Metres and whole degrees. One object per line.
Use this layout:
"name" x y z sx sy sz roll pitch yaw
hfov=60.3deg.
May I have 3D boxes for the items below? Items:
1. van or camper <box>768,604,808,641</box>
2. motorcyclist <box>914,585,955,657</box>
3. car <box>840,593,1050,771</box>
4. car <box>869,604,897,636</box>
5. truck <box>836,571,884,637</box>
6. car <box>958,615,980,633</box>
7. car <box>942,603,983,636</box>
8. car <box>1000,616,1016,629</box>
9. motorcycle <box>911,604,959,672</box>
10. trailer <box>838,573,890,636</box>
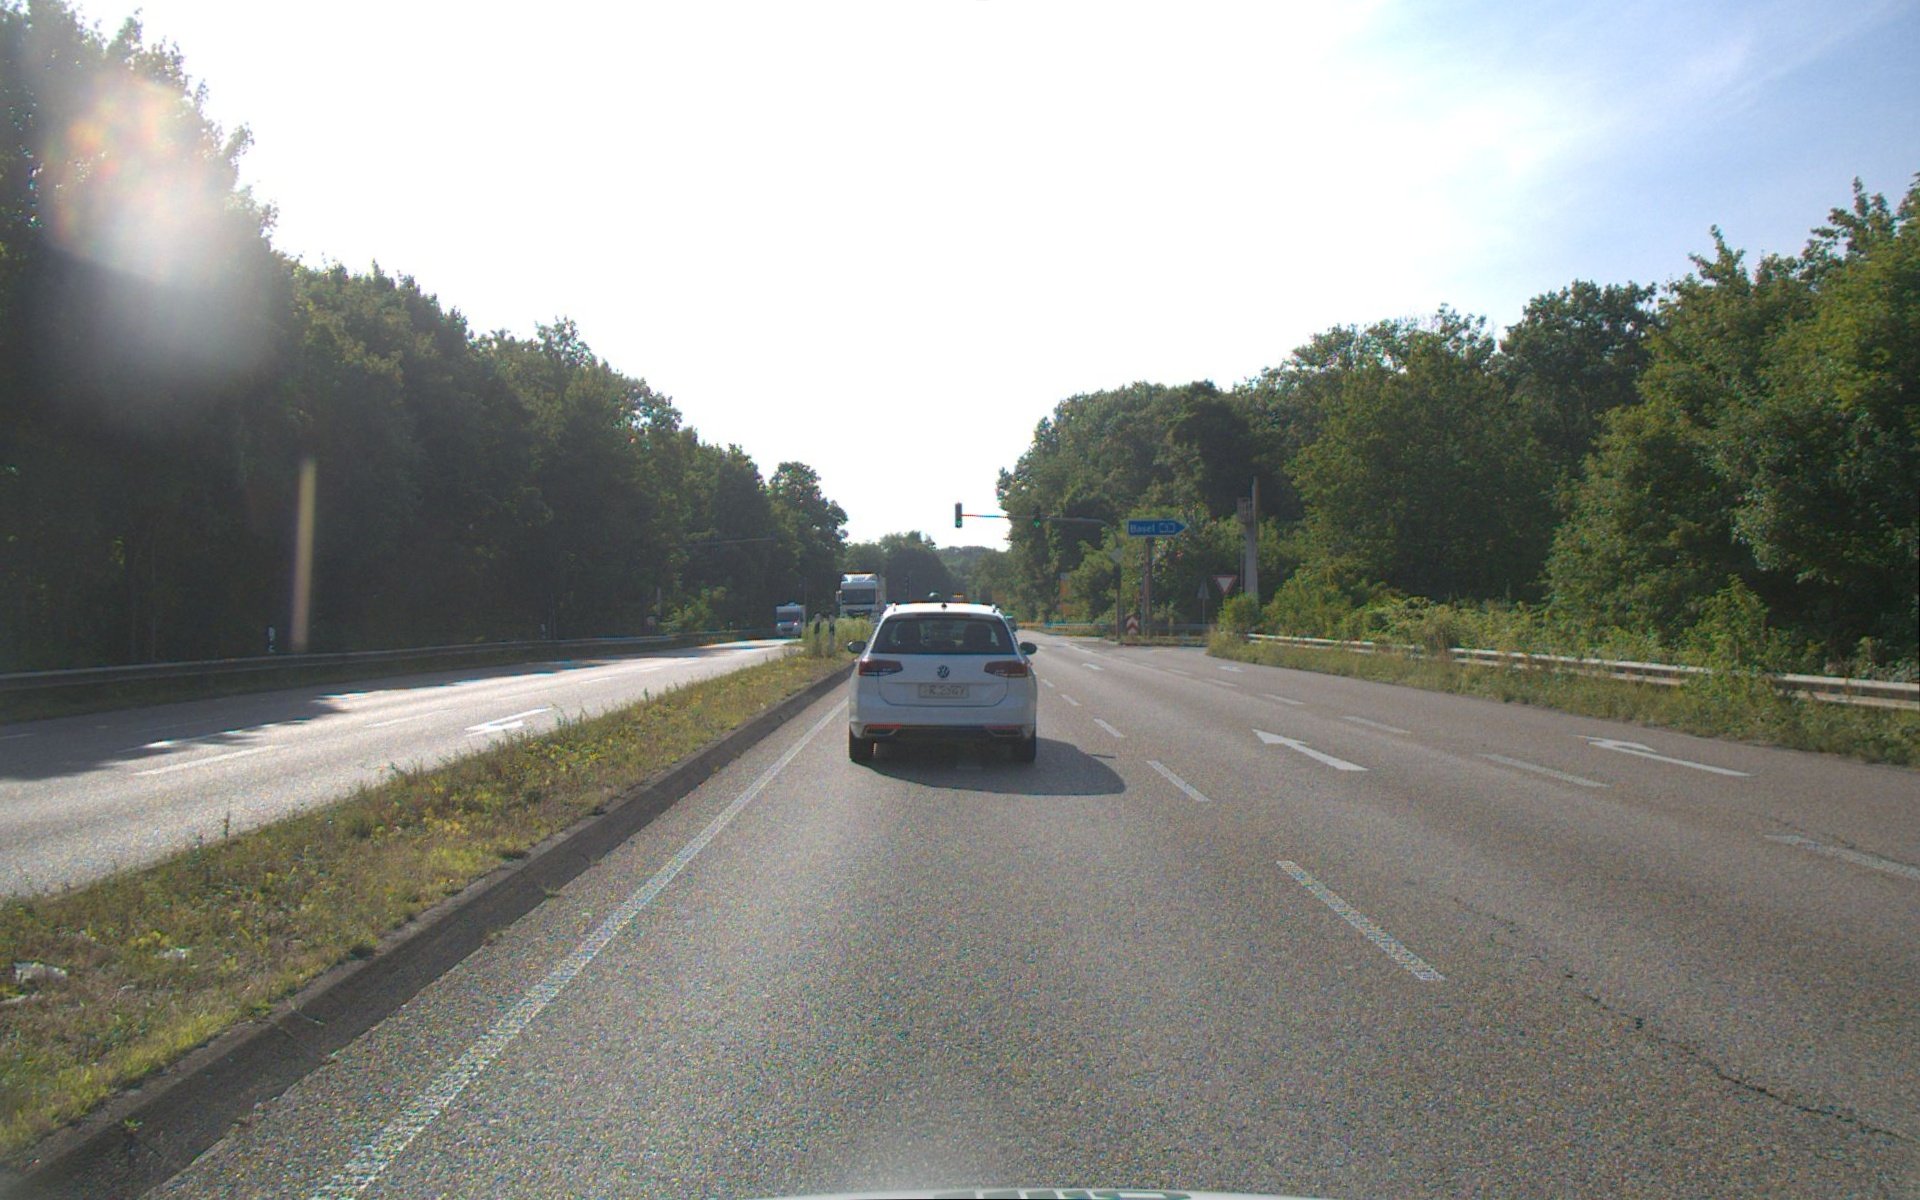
"van or camper" -13.808 1.782 133.230 2.364 2.758 6.436 -3 -1 0
"motorcyclist" -0.581 0.484 38.606 0.865 1.644 1.290 1 -1 2
"car" -0.118 0.740 16.904 1.831 1.548 4.834 0 -1 0
"car" -6.490 1.709 140.204 2.032 2.578 6.163 -2 -1 0
"truck" -6.347 0.271 105.949 2.832 4.067 6.719 1 -1 -2
"car" 0.729 1.890 132.496 1.725 1.404 3.971 1 -1 1
"car" 0.140 0.859 73.531 1.725 1.404 3.971 1 -1 1
"car" 5.138 2.420 177.126 1.725 1.404 3.971 1 -1 1
"motorcycle" -0.558 0.851 38.496 0.890 1.479 2.689 -4 0 2
"trailer" -6.503 0.356 113.763 2.931 4.066 14.009 1 -1 -1
